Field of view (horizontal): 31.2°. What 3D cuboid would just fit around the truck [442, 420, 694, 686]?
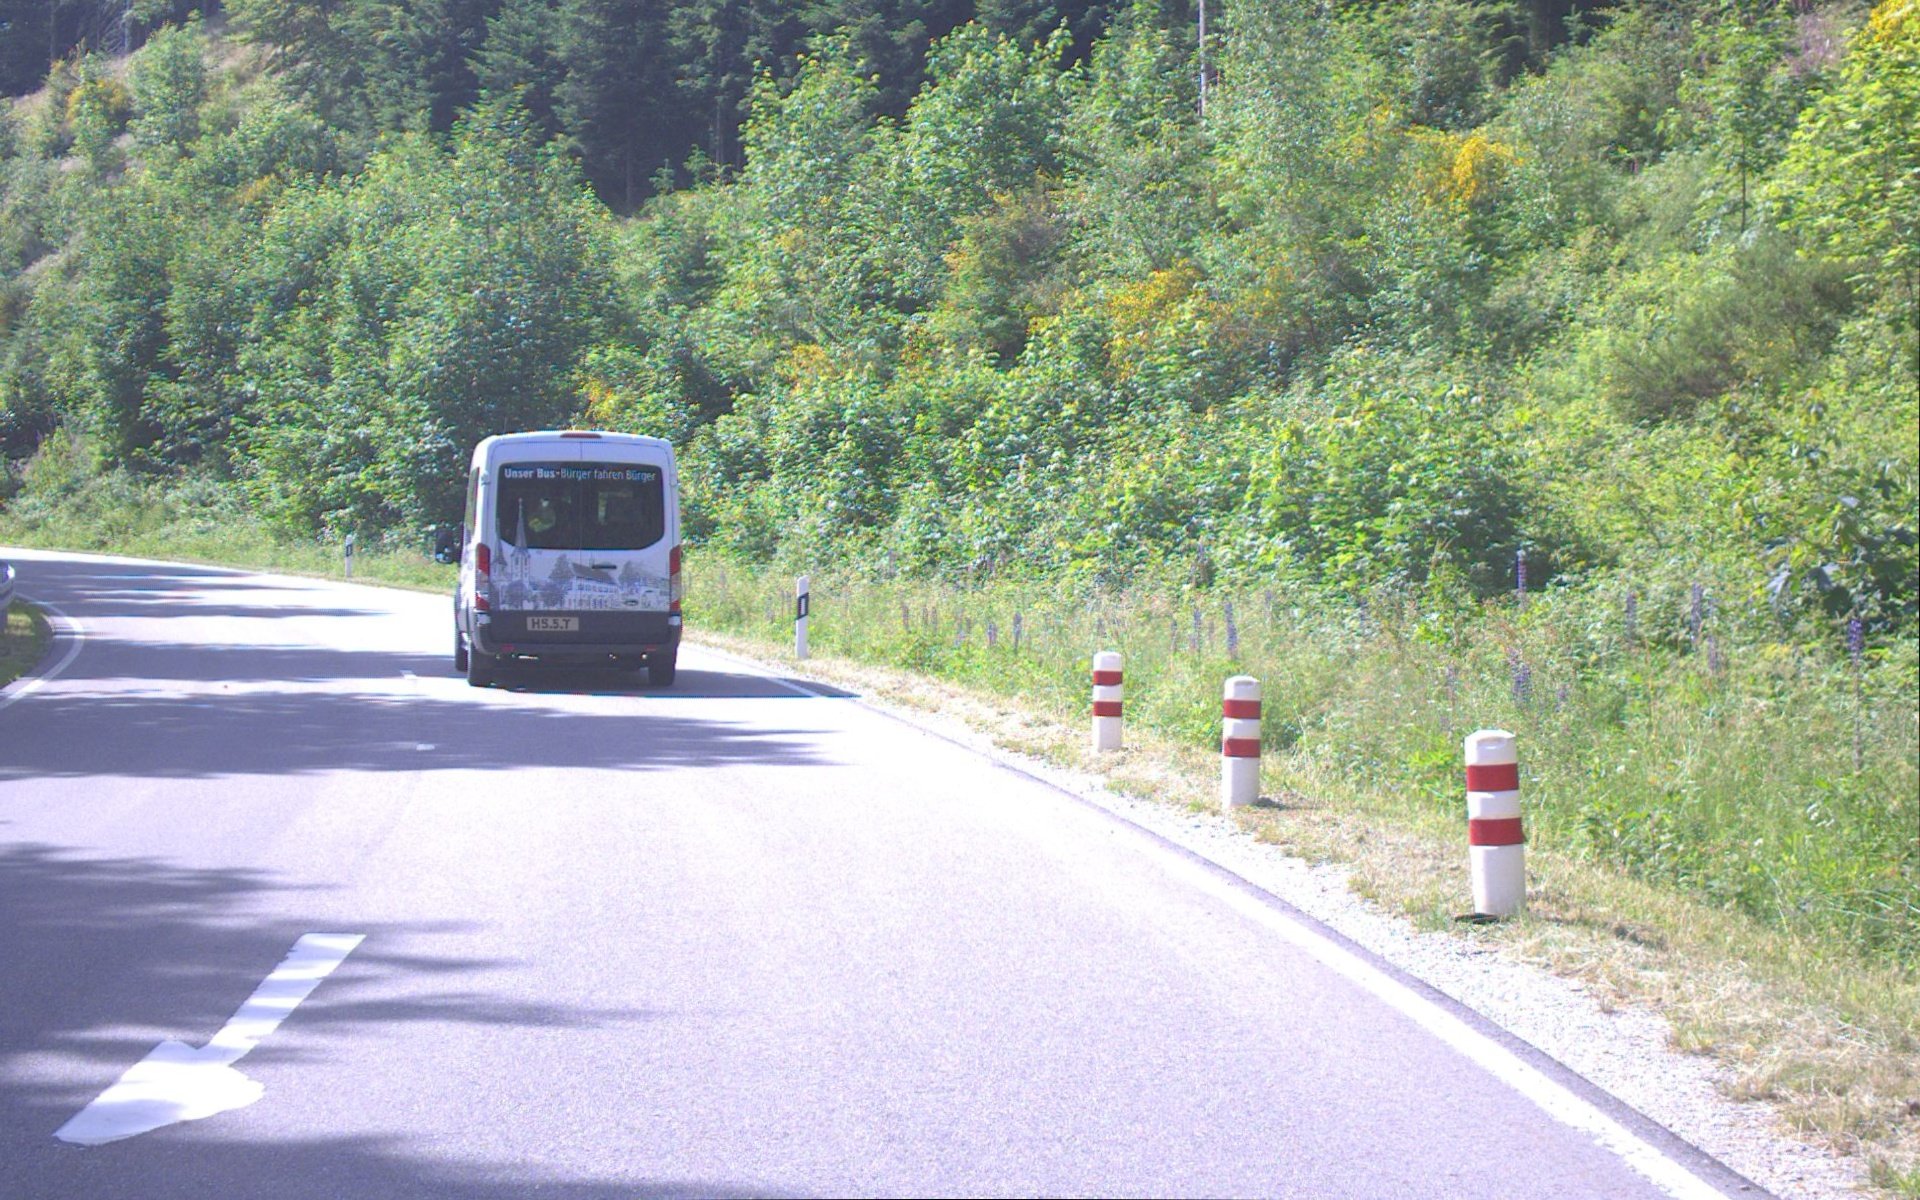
[{"bbox_3d":[-4.072,-0.511,34.925,2.115,2.489,5.361,0,1,-11],"label":"truck"}]
